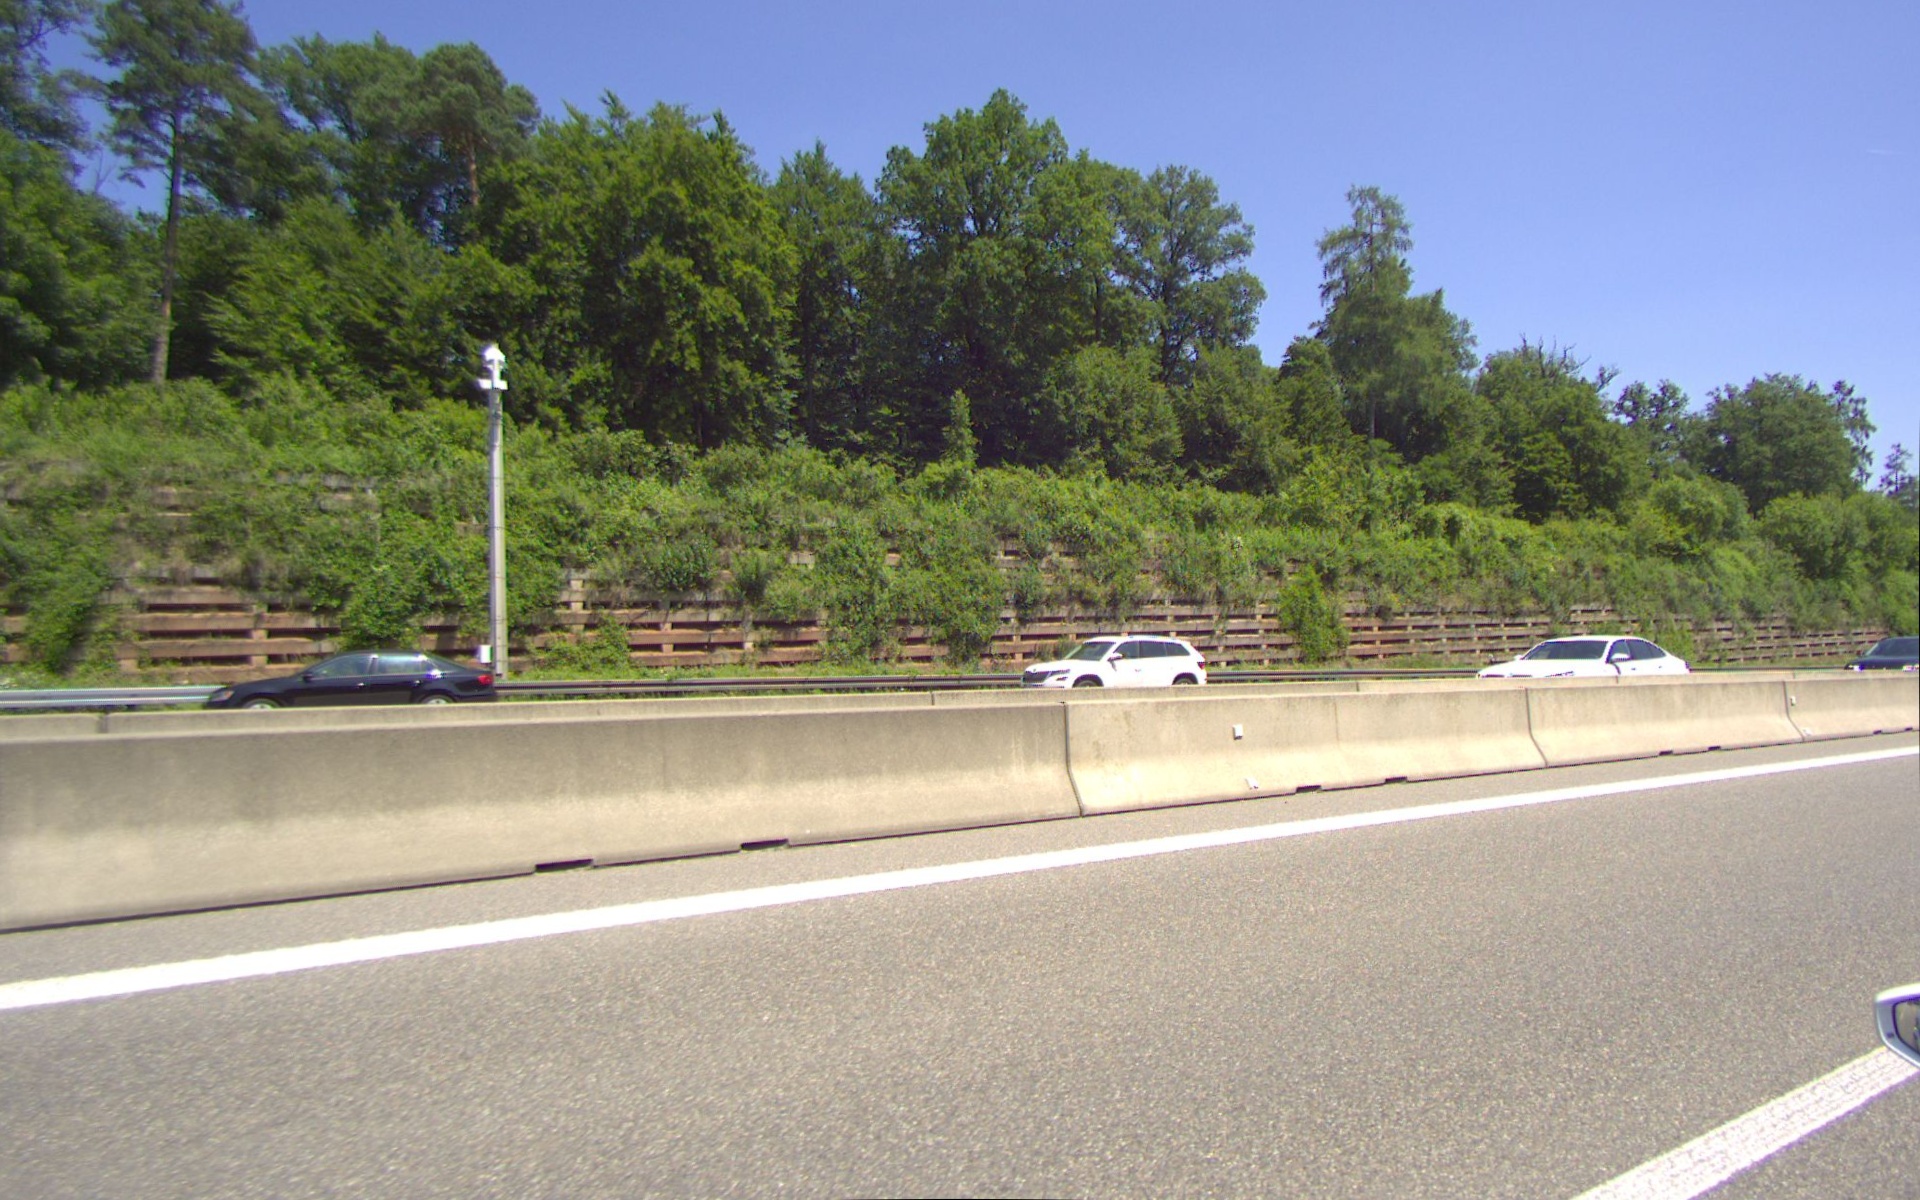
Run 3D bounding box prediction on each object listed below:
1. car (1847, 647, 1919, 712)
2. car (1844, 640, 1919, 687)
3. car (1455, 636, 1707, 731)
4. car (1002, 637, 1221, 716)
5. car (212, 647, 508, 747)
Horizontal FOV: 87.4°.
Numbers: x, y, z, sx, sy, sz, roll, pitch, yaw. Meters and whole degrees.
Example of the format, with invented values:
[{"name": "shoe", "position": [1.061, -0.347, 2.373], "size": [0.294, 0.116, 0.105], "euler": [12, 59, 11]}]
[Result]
[{"name": "car", "position": [26.245, 2.114, 27.458], "size": [4.253, 1.659, 1.745], "euler": [1, -3, -30]}, {"name": "car", "position": [35.602, 2.346, 37.771], "size": [5.583, 1.659, 1.874], "euler": [1, -3, -31]}, {"name": "car", "position": [11.995, 1.526, 19.306], "size": [5.165, 1.626, 1.931], "euler": [1, -3, -30]}, {"name": "car", "position": [3.482, 1.676, 22.864], "size": [4.803, 1.626, 1.931], "euler": [1, -3, -30]}, {"name": "car", "position": [-10.796, 1.676, 18.397], "size": [4.412, 1.626, 1.931], "euler": [1, -3, -30]}]
